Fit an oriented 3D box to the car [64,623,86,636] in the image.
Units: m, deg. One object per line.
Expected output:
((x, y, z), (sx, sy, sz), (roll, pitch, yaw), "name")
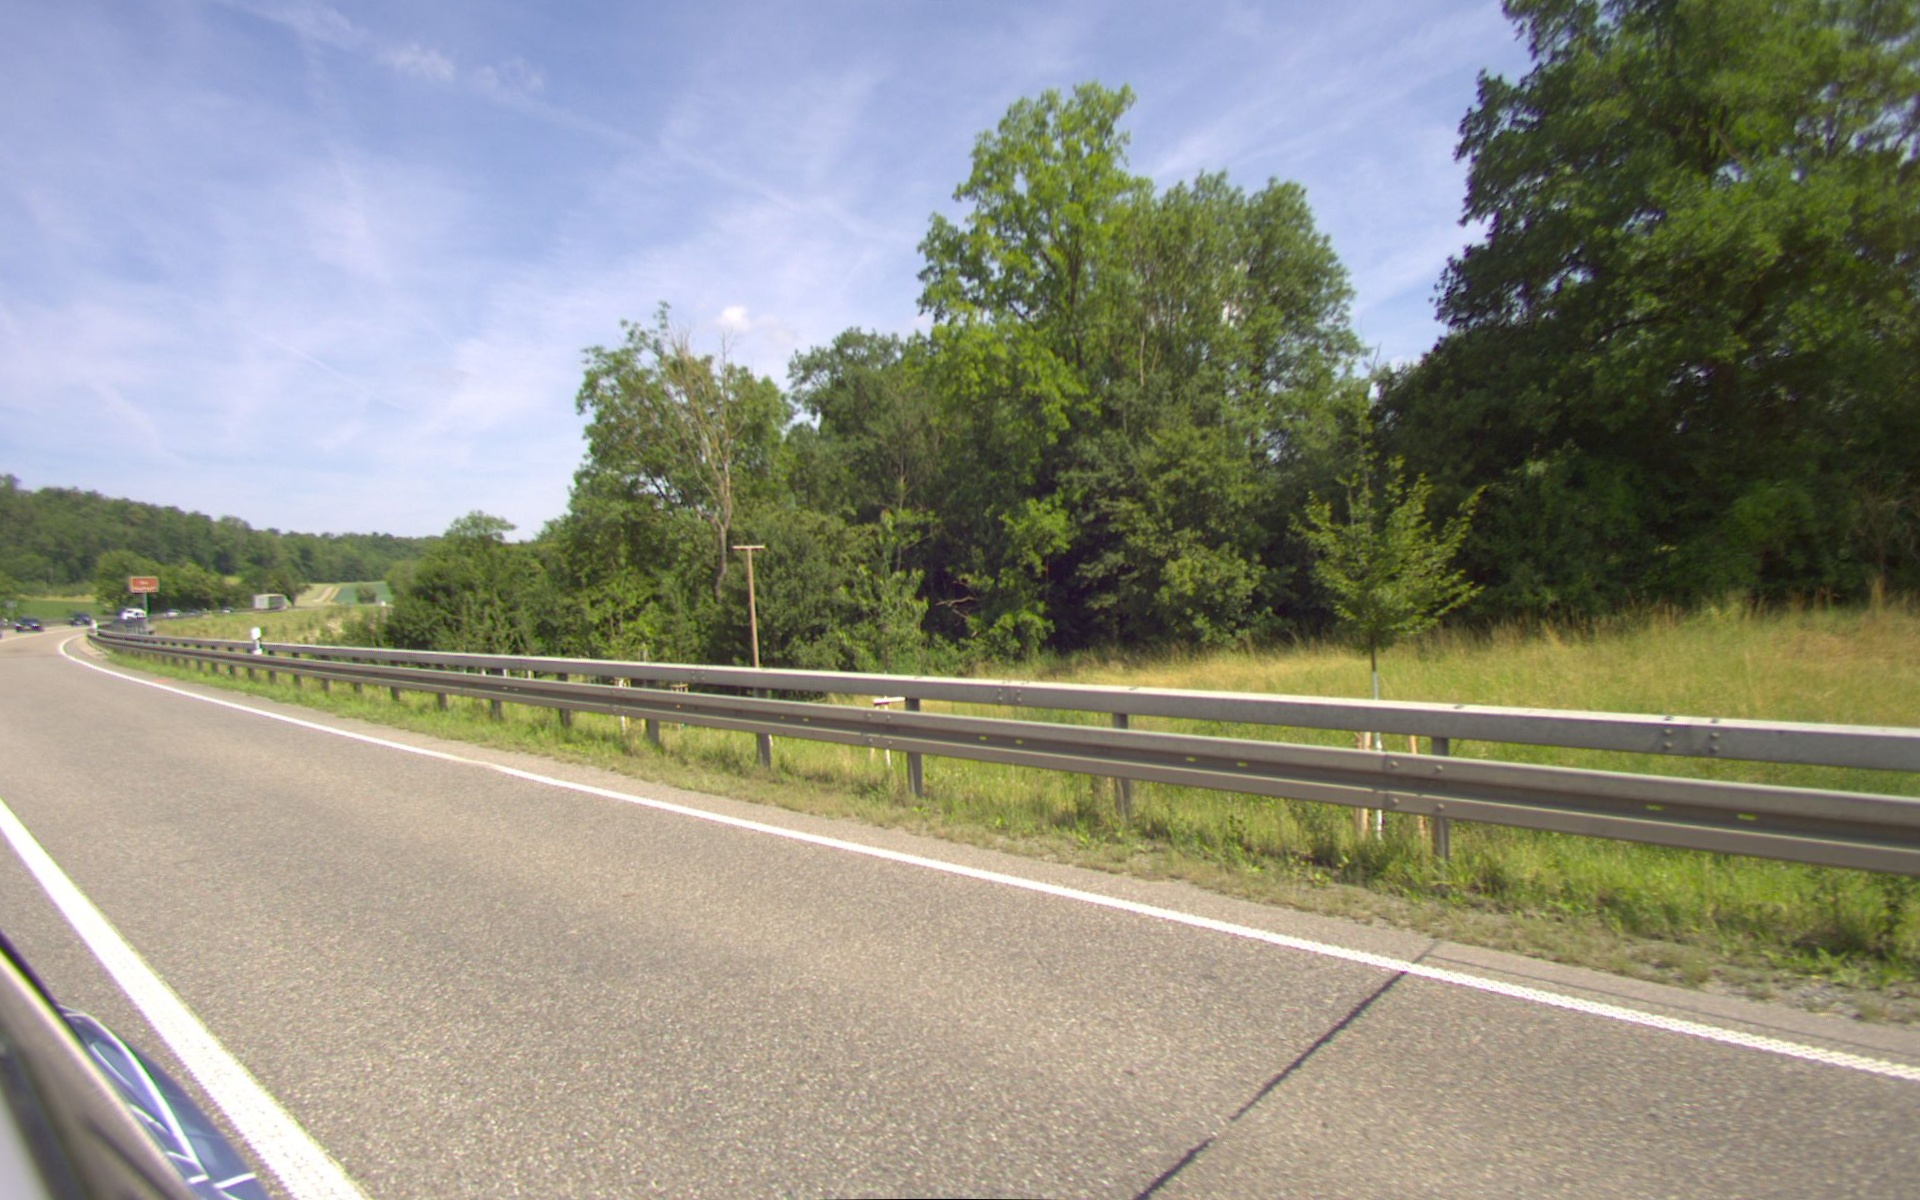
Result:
((-109.682, 3.651, 125.452), (1.716, 1.465, 4.045), (0, 0, -37), "car")

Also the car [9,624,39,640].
((-90.855, 3.105, 98.270), (1.716, 1.465, 4.044), (0, 0, -38), "car")

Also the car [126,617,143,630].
((-113.773, 3.203, 139.537), (1.716, 1.788, 4.044), (0, 0, -37), "car")
